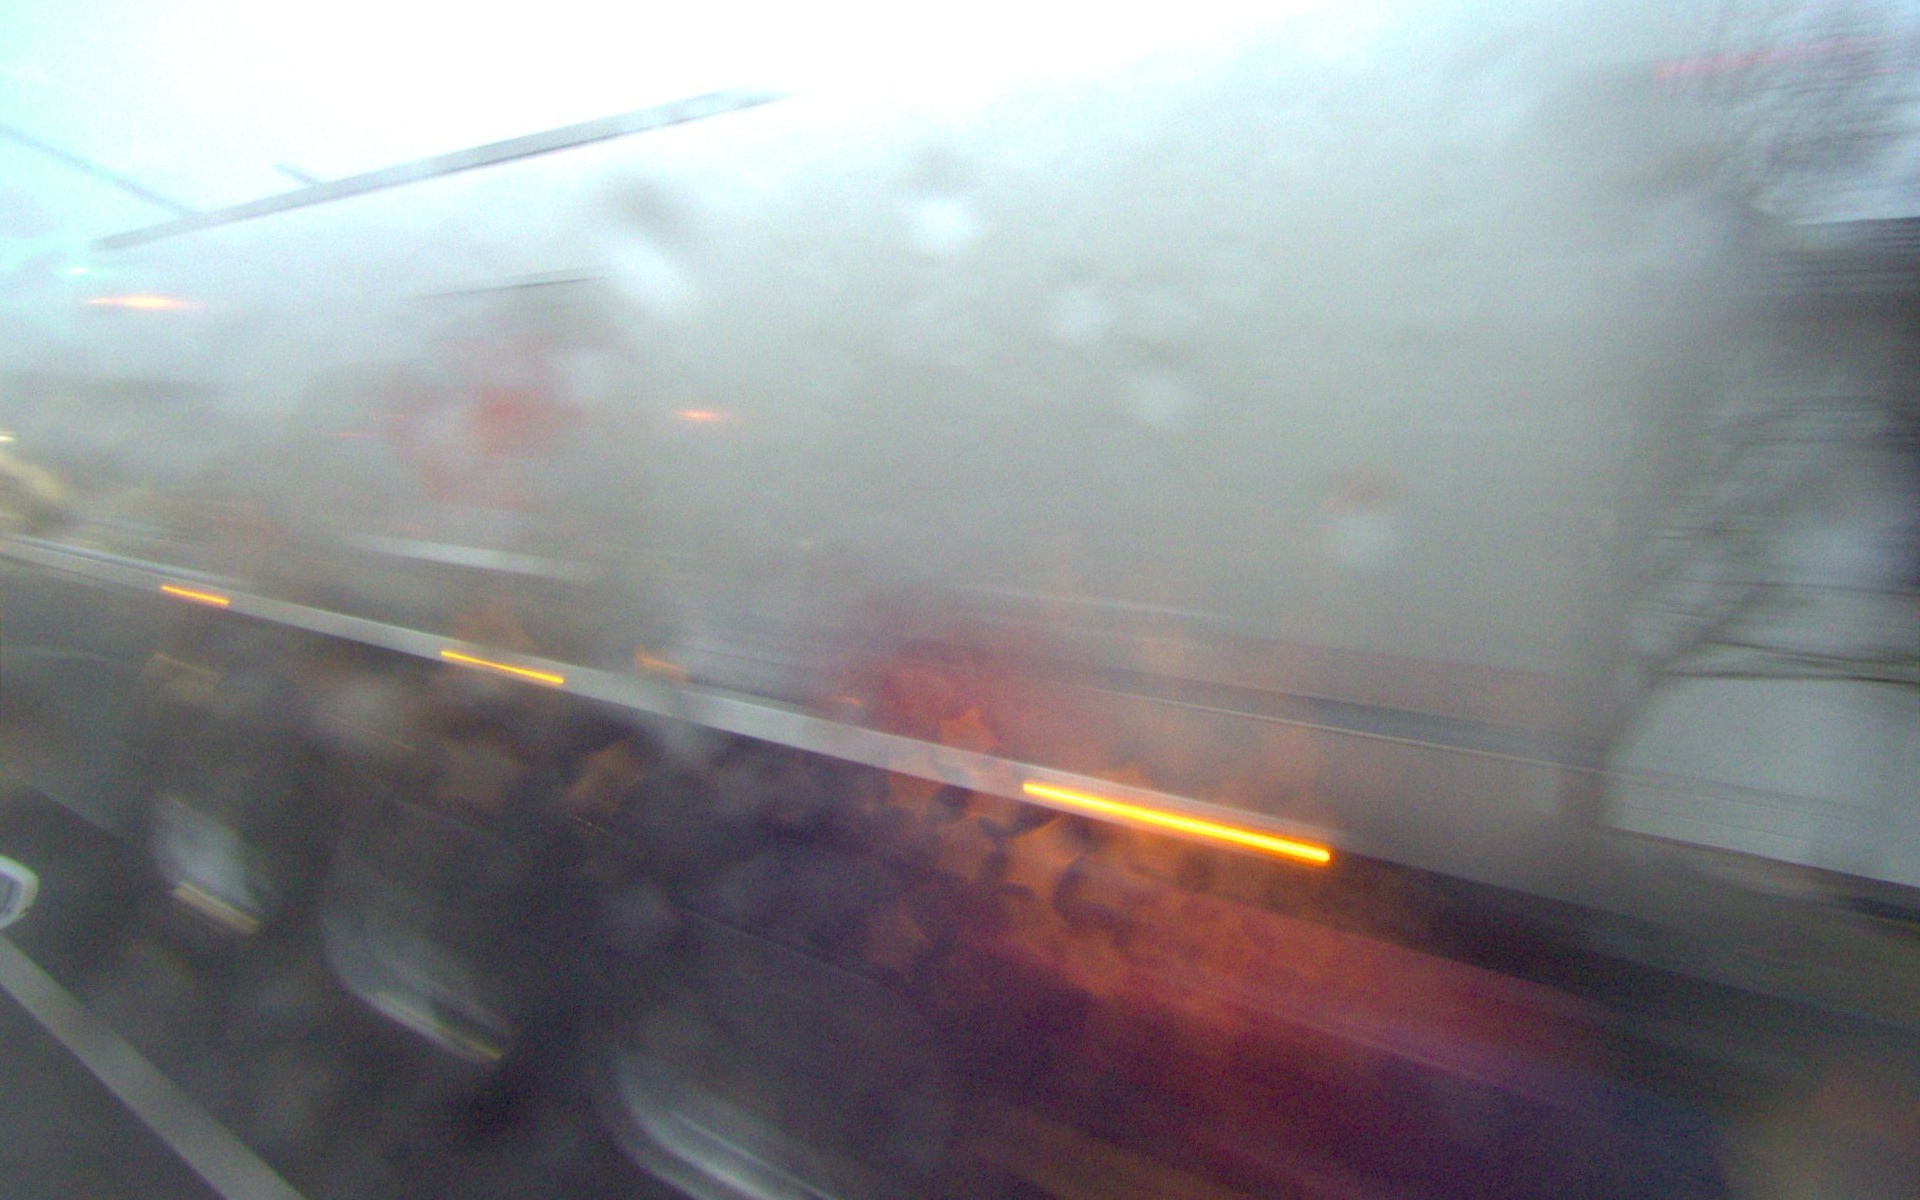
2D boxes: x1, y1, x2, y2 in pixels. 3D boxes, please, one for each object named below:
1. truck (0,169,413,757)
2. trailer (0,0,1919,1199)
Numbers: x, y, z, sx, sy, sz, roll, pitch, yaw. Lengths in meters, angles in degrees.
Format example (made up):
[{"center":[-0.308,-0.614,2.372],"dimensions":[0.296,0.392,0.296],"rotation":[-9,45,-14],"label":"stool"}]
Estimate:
[{"center":[-7.519,-0.966,8.098],"dimensions":[6.169,3.268,2.466],"rotation":[7,-1,32],"label":"truck"},{"center":[-2.660,-0.367,5.019],"dimensions":[10.688,3.279,2.492],"rotation":[7,-1,32],"label":"trailer"}]
